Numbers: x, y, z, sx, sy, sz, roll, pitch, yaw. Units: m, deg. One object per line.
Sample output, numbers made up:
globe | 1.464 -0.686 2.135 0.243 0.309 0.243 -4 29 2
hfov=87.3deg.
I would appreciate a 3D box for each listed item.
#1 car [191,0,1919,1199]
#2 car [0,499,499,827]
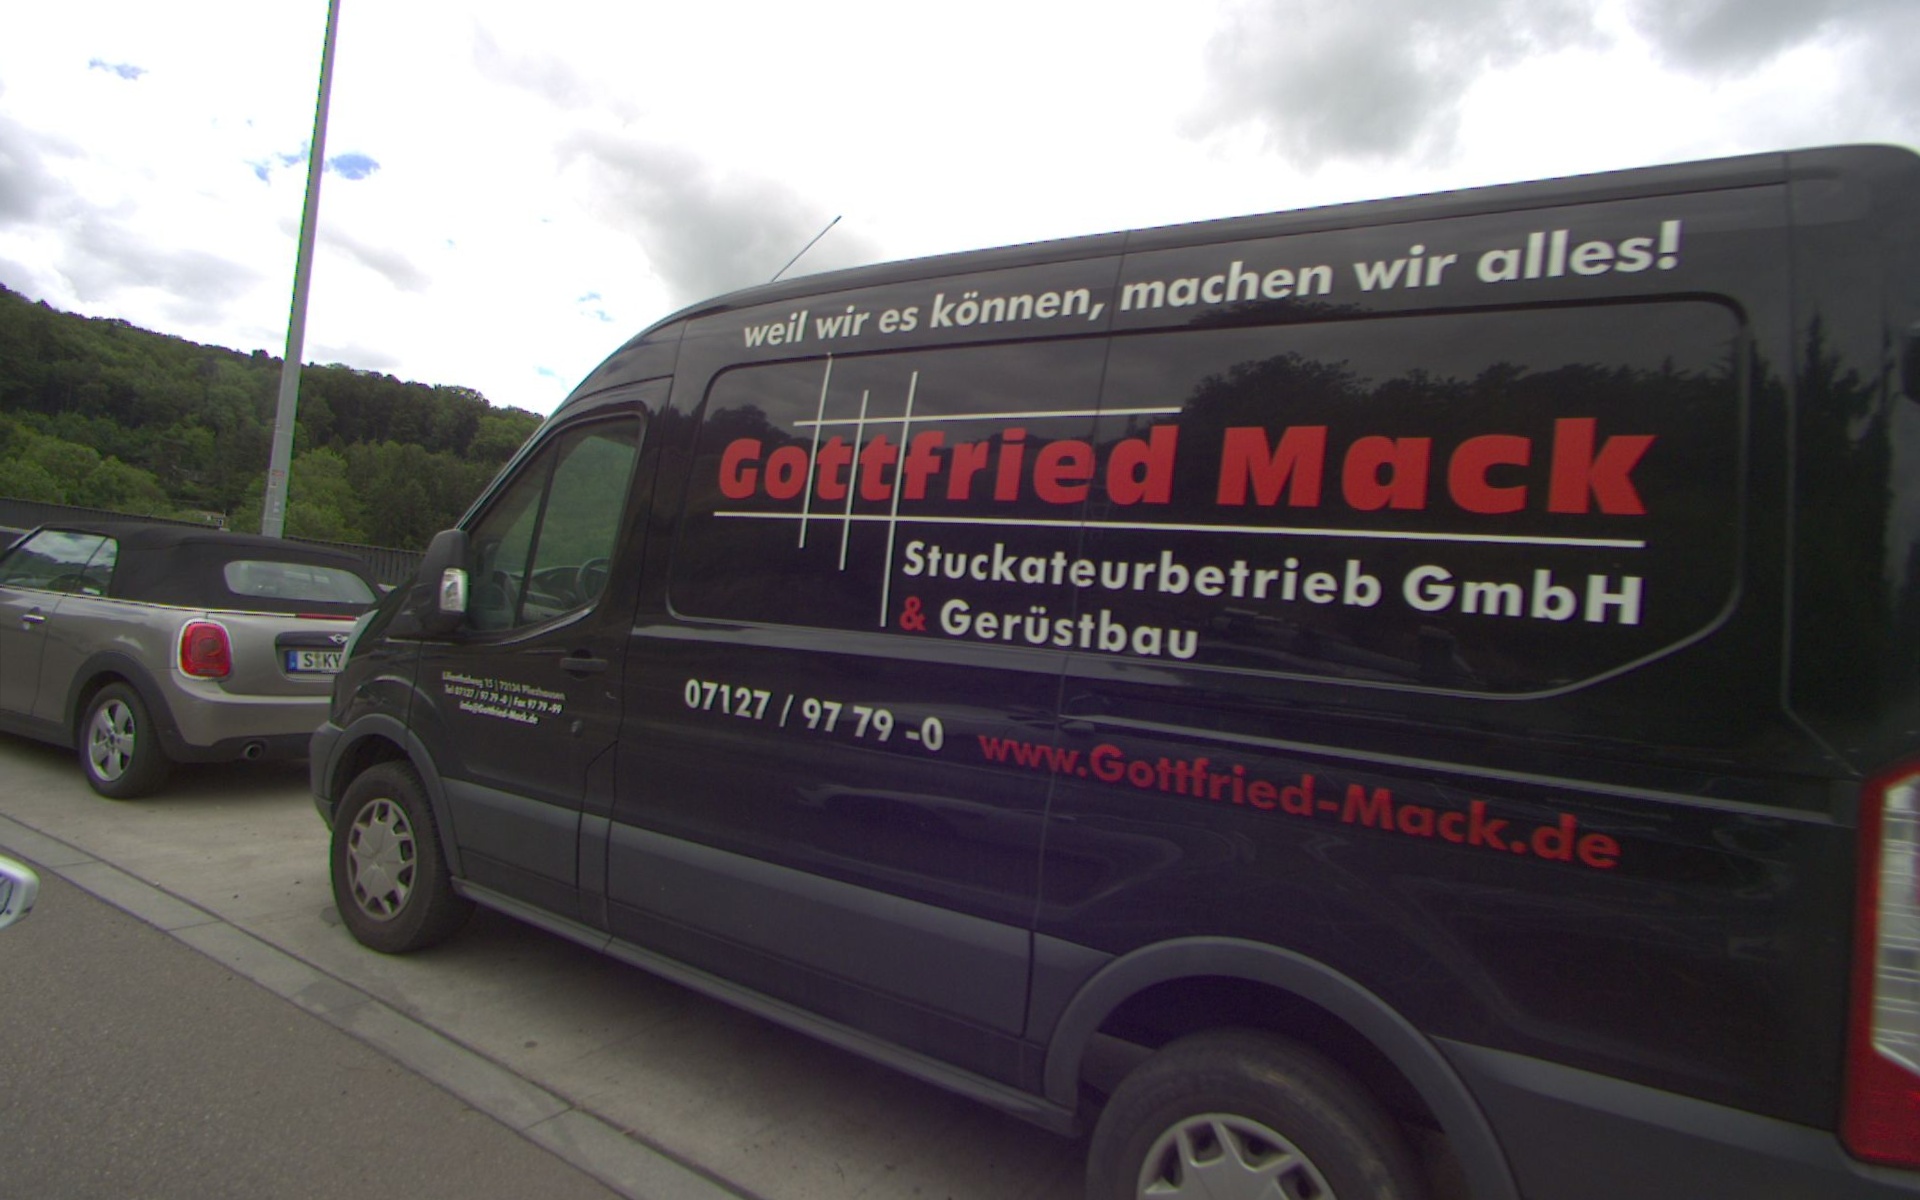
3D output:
car | -0.157 0.165 3.638 5.675 2.554 2.168 7 2 31
car | -5.059 0.225 6.363 3.780 1.448 1.719 7 -1 24
